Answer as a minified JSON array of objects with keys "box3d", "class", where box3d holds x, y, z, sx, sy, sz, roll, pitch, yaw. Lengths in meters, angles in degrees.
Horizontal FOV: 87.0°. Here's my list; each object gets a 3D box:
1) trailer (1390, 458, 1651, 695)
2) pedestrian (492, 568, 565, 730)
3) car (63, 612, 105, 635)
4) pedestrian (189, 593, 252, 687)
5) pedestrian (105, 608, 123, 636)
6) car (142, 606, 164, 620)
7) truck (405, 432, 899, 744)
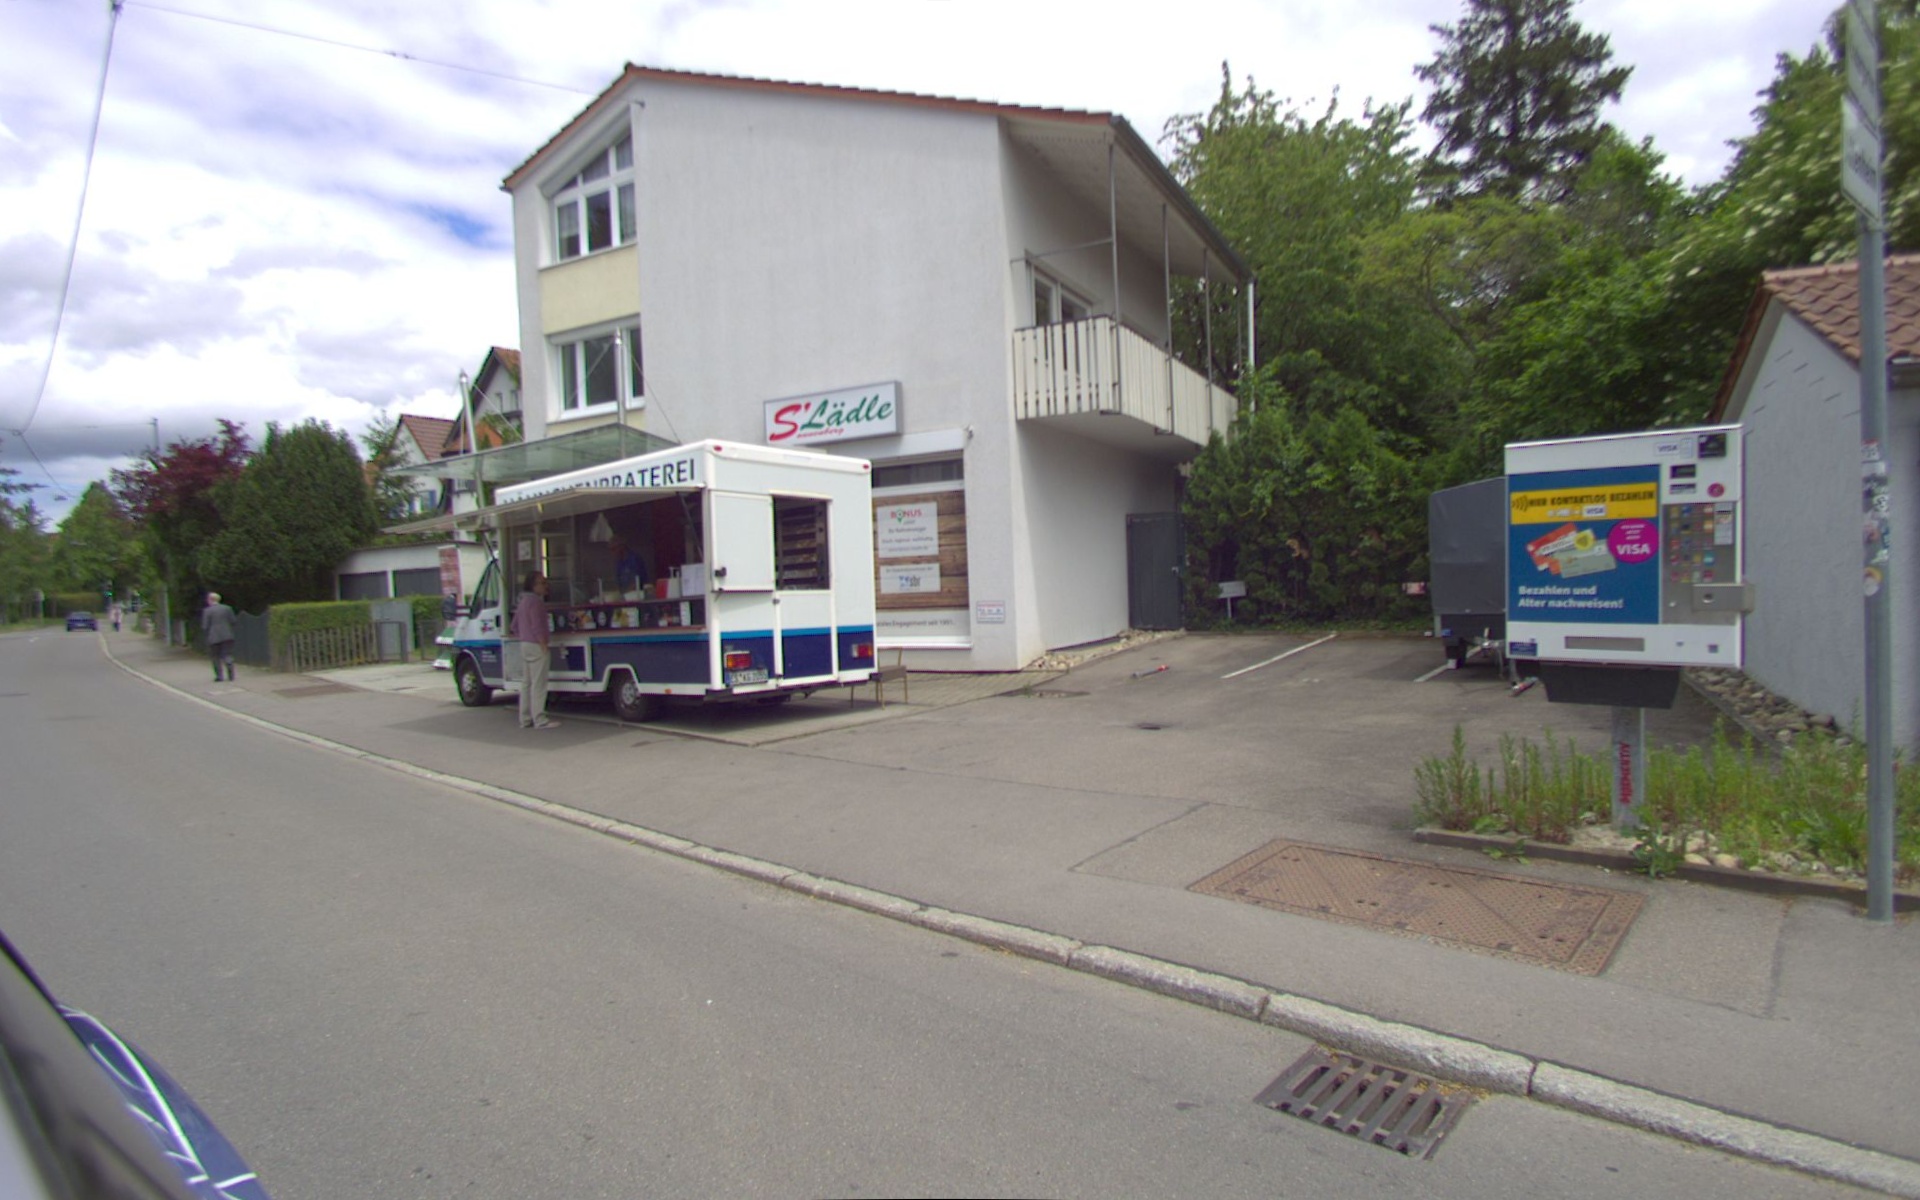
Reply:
[{"box3d":[6.450,-0.338,11.320,1.702,2.095,4.816,-3,2,38],"class":"trailer"},{"box3d":[-4.718,0.525,11.067,0.597,1.707,0.397,-1,3,40],"class":"pedestrian"},{"box3d":[-67.156,1.762,77.634,1.671,1.442,3.939,-7,4,-31],"class":"car"},{"box3d":[-14.255,0.740,19.502,0.714,1.699,1.110,-6,5,-45],"class":"pedestrian"},{"box3d":[-55.227,1.404,66.063,0.809,1.757,0.605,-5,3,-39],"class":"pedestrian"},{"box3d":[-99.301,1.563,124.514,1.818,1.668,4.143,1,-1,-42],"class":"car"},{"box3d":[-4.061,-0.103,12.390,6.702,2.861,2.448,-1,1,40],"class":"truck"}]
